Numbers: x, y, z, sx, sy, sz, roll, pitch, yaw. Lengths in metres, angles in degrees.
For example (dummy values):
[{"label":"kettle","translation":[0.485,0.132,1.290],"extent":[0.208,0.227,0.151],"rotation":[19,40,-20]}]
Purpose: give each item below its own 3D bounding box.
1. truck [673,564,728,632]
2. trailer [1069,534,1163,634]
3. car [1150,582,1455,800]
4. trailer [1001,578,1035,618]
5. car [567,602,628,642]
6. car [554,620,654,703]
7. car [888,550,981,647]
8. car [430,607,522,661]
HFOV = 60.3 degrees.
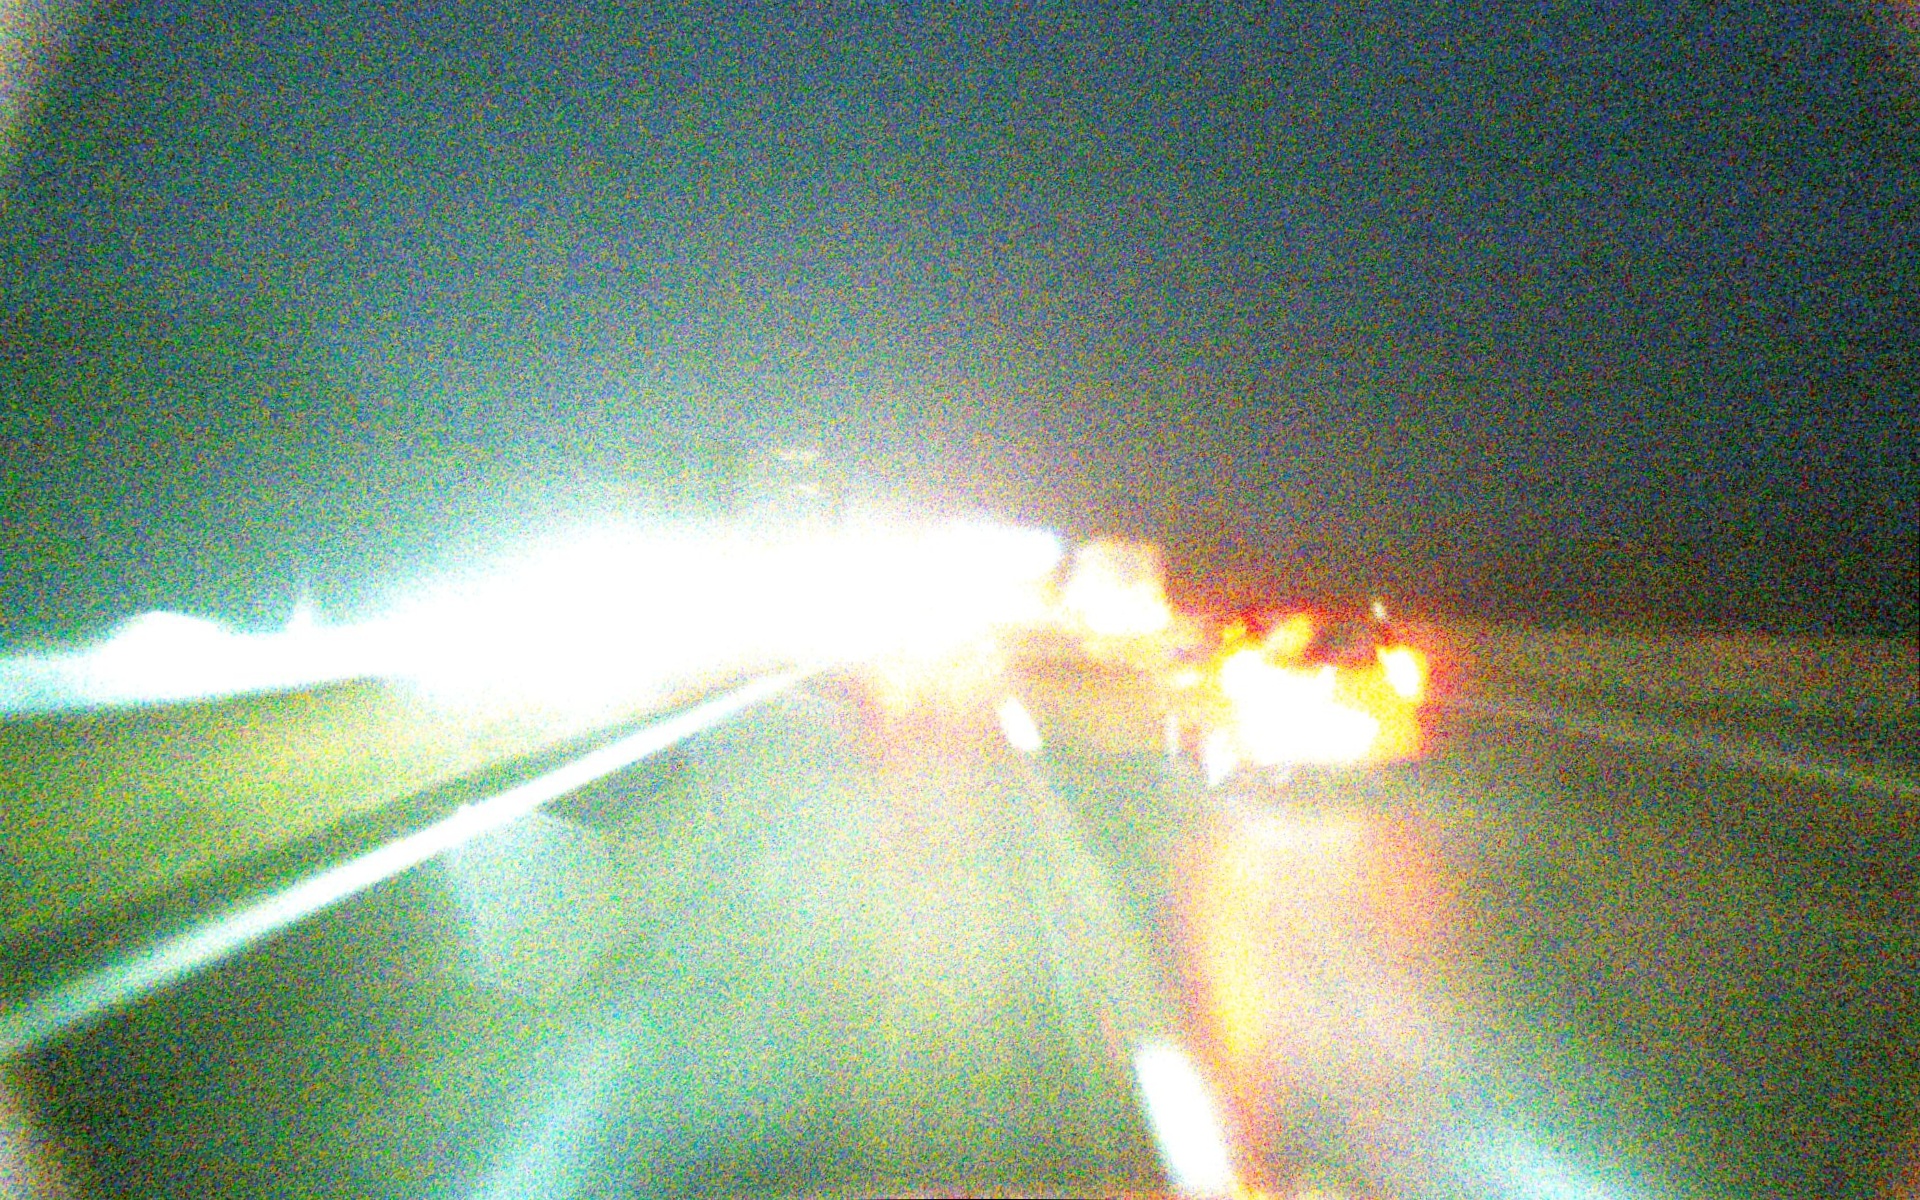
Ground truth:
[{"label":"truck","translation":[-17.099,-0.121,109.183],"extent":[2.635,4.295,5.734],"rotation":[1,0,0]},{"label":"trailer","translation":[7.065,-0.587,77.096],"extent":[2.844,4.181,14.485],"rotation":[-1,-1,0]},{"label":"car","translation":[2.782,0.710,14.439],"extent":[1.705,1.603,4.493],"rotation":[0,-1,0]},{"label":"trailer","translation":[6.702,-0.161,192.149],"extent":[2.980,4.181,13.822],"rotation":[-2,-1,-2]},{"label":"car","translation":[-17.139,1.017,78.454],"extent":[1.953,1.805,4.957],"rotation":[1,0,-2]},{"label":"car","translation":[-10.216,1.719,47.744],"extent":[1.953,2.048,4.295],"rotation":[1,2,-1]},{"label":"car","translation":[-0.588,-0.057,37.782],"extent":[1.953,2.049,3.999],"rotation":[2,1,-1]},{"label":"car","translation":[-17.156,1.171,58.903],"extent":[1.953,1.805,4.957],"rotation":[-1,0,-2]}]
